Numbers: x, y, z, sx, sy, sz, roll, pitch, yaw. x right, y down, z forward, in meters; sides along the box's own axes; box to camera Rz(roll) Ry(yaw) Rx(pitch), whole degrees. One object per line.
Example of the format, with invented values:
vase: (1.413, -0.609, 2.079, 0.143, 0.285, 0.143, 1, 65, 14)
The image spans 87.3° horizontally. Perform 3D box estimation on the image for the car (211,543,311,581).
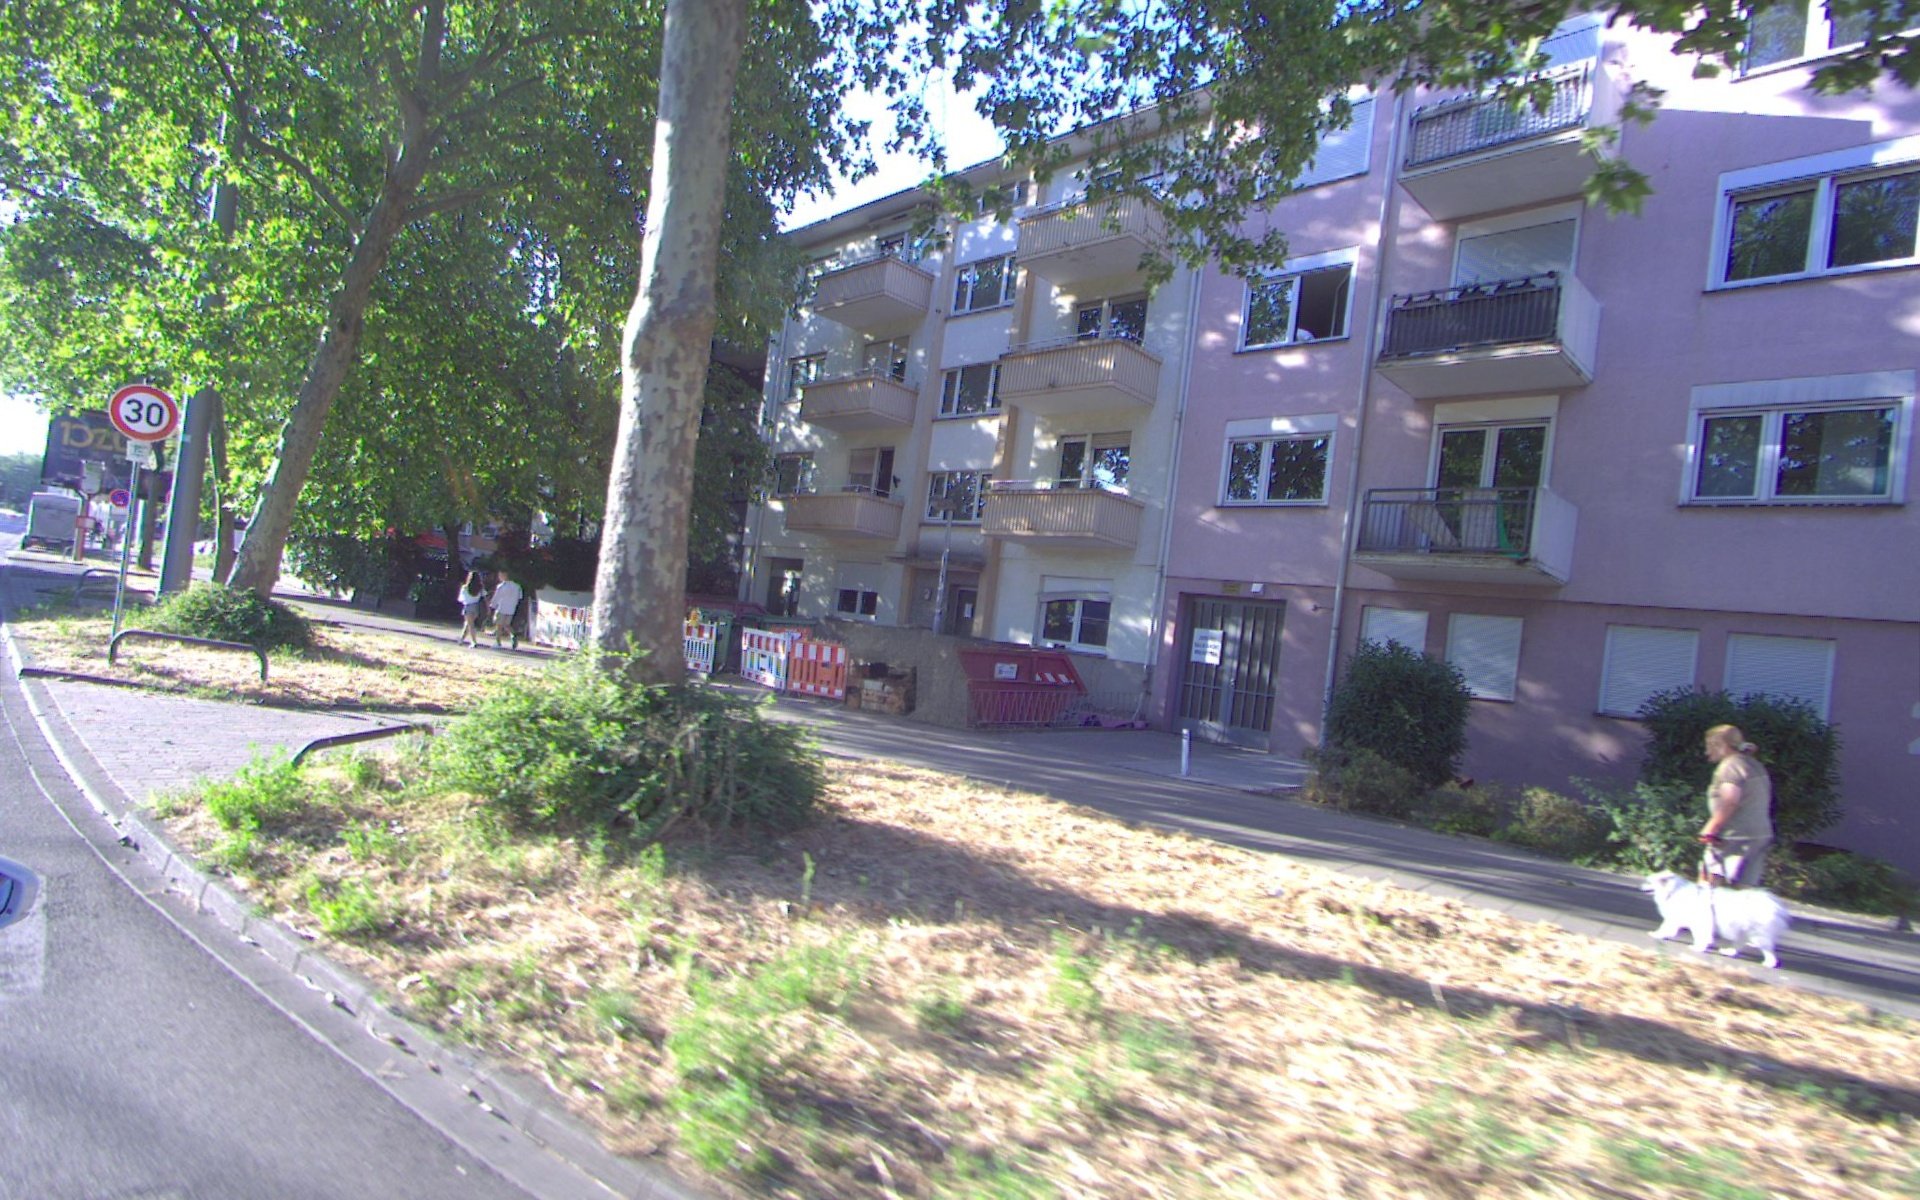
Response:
car: (-35.291, -1.896, 50.836, 3.909, 1.351, 1.686, 9, -3, -42)

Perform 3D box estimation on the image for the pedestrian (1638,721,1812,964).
pedestrian: (5.491, 1.683, 7.220, 0.805, 1.491, 0.789, 6, -1, 42)

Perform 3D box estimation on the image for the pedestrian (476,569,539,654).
pedestrian: (-9.699, 0.242, 21.567, 0.805, 1.686, 0.789, 6, -1, 42)

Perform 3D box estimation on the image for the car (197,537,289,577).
car: (-40.437, -2.403, 56.778, 3.910, 1.655, 1.686, 9, -3, -43)

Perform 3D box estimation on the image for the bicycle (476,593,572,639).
bicycle: (-12.465, 0.476, 28.825, 2.363, 1.036, 0.657, 8, -2, -38)

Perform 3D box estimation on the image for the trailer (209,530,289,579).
trailer: (-37.190, -2.382, 52.657, 3.055, 2.093, 1.857, 9, -3, -42)

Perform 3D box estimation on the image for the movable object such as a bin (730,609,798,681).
movable object such as a bin: (-4.439, 1.005, 22.745, 1.279, 1.451, 0.837, 8, -1, -17)

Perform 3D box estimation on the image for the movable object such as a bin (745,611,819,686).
movable object such as a bin: (-3.874, 1.048, 21.896, 1.282, 1.451, 0.835, 8, -1, -24)

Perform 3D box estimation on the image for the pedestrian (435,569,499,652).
pedestrian: (-10.269, 0.227, 20.961, 0.805, 1.590, 0.789, 7, -1, 42)

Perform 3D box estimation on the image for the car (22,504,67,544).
car: (-70.965, -5.850, 78.018, 2.276, 2.658, 5.246, 8, -2, -43)

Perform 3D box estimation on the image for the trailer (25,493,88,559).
trailer: (-40.742, -3.324, 45.372, 1.827, 2.588, 3.279, 8, -2, -43)
